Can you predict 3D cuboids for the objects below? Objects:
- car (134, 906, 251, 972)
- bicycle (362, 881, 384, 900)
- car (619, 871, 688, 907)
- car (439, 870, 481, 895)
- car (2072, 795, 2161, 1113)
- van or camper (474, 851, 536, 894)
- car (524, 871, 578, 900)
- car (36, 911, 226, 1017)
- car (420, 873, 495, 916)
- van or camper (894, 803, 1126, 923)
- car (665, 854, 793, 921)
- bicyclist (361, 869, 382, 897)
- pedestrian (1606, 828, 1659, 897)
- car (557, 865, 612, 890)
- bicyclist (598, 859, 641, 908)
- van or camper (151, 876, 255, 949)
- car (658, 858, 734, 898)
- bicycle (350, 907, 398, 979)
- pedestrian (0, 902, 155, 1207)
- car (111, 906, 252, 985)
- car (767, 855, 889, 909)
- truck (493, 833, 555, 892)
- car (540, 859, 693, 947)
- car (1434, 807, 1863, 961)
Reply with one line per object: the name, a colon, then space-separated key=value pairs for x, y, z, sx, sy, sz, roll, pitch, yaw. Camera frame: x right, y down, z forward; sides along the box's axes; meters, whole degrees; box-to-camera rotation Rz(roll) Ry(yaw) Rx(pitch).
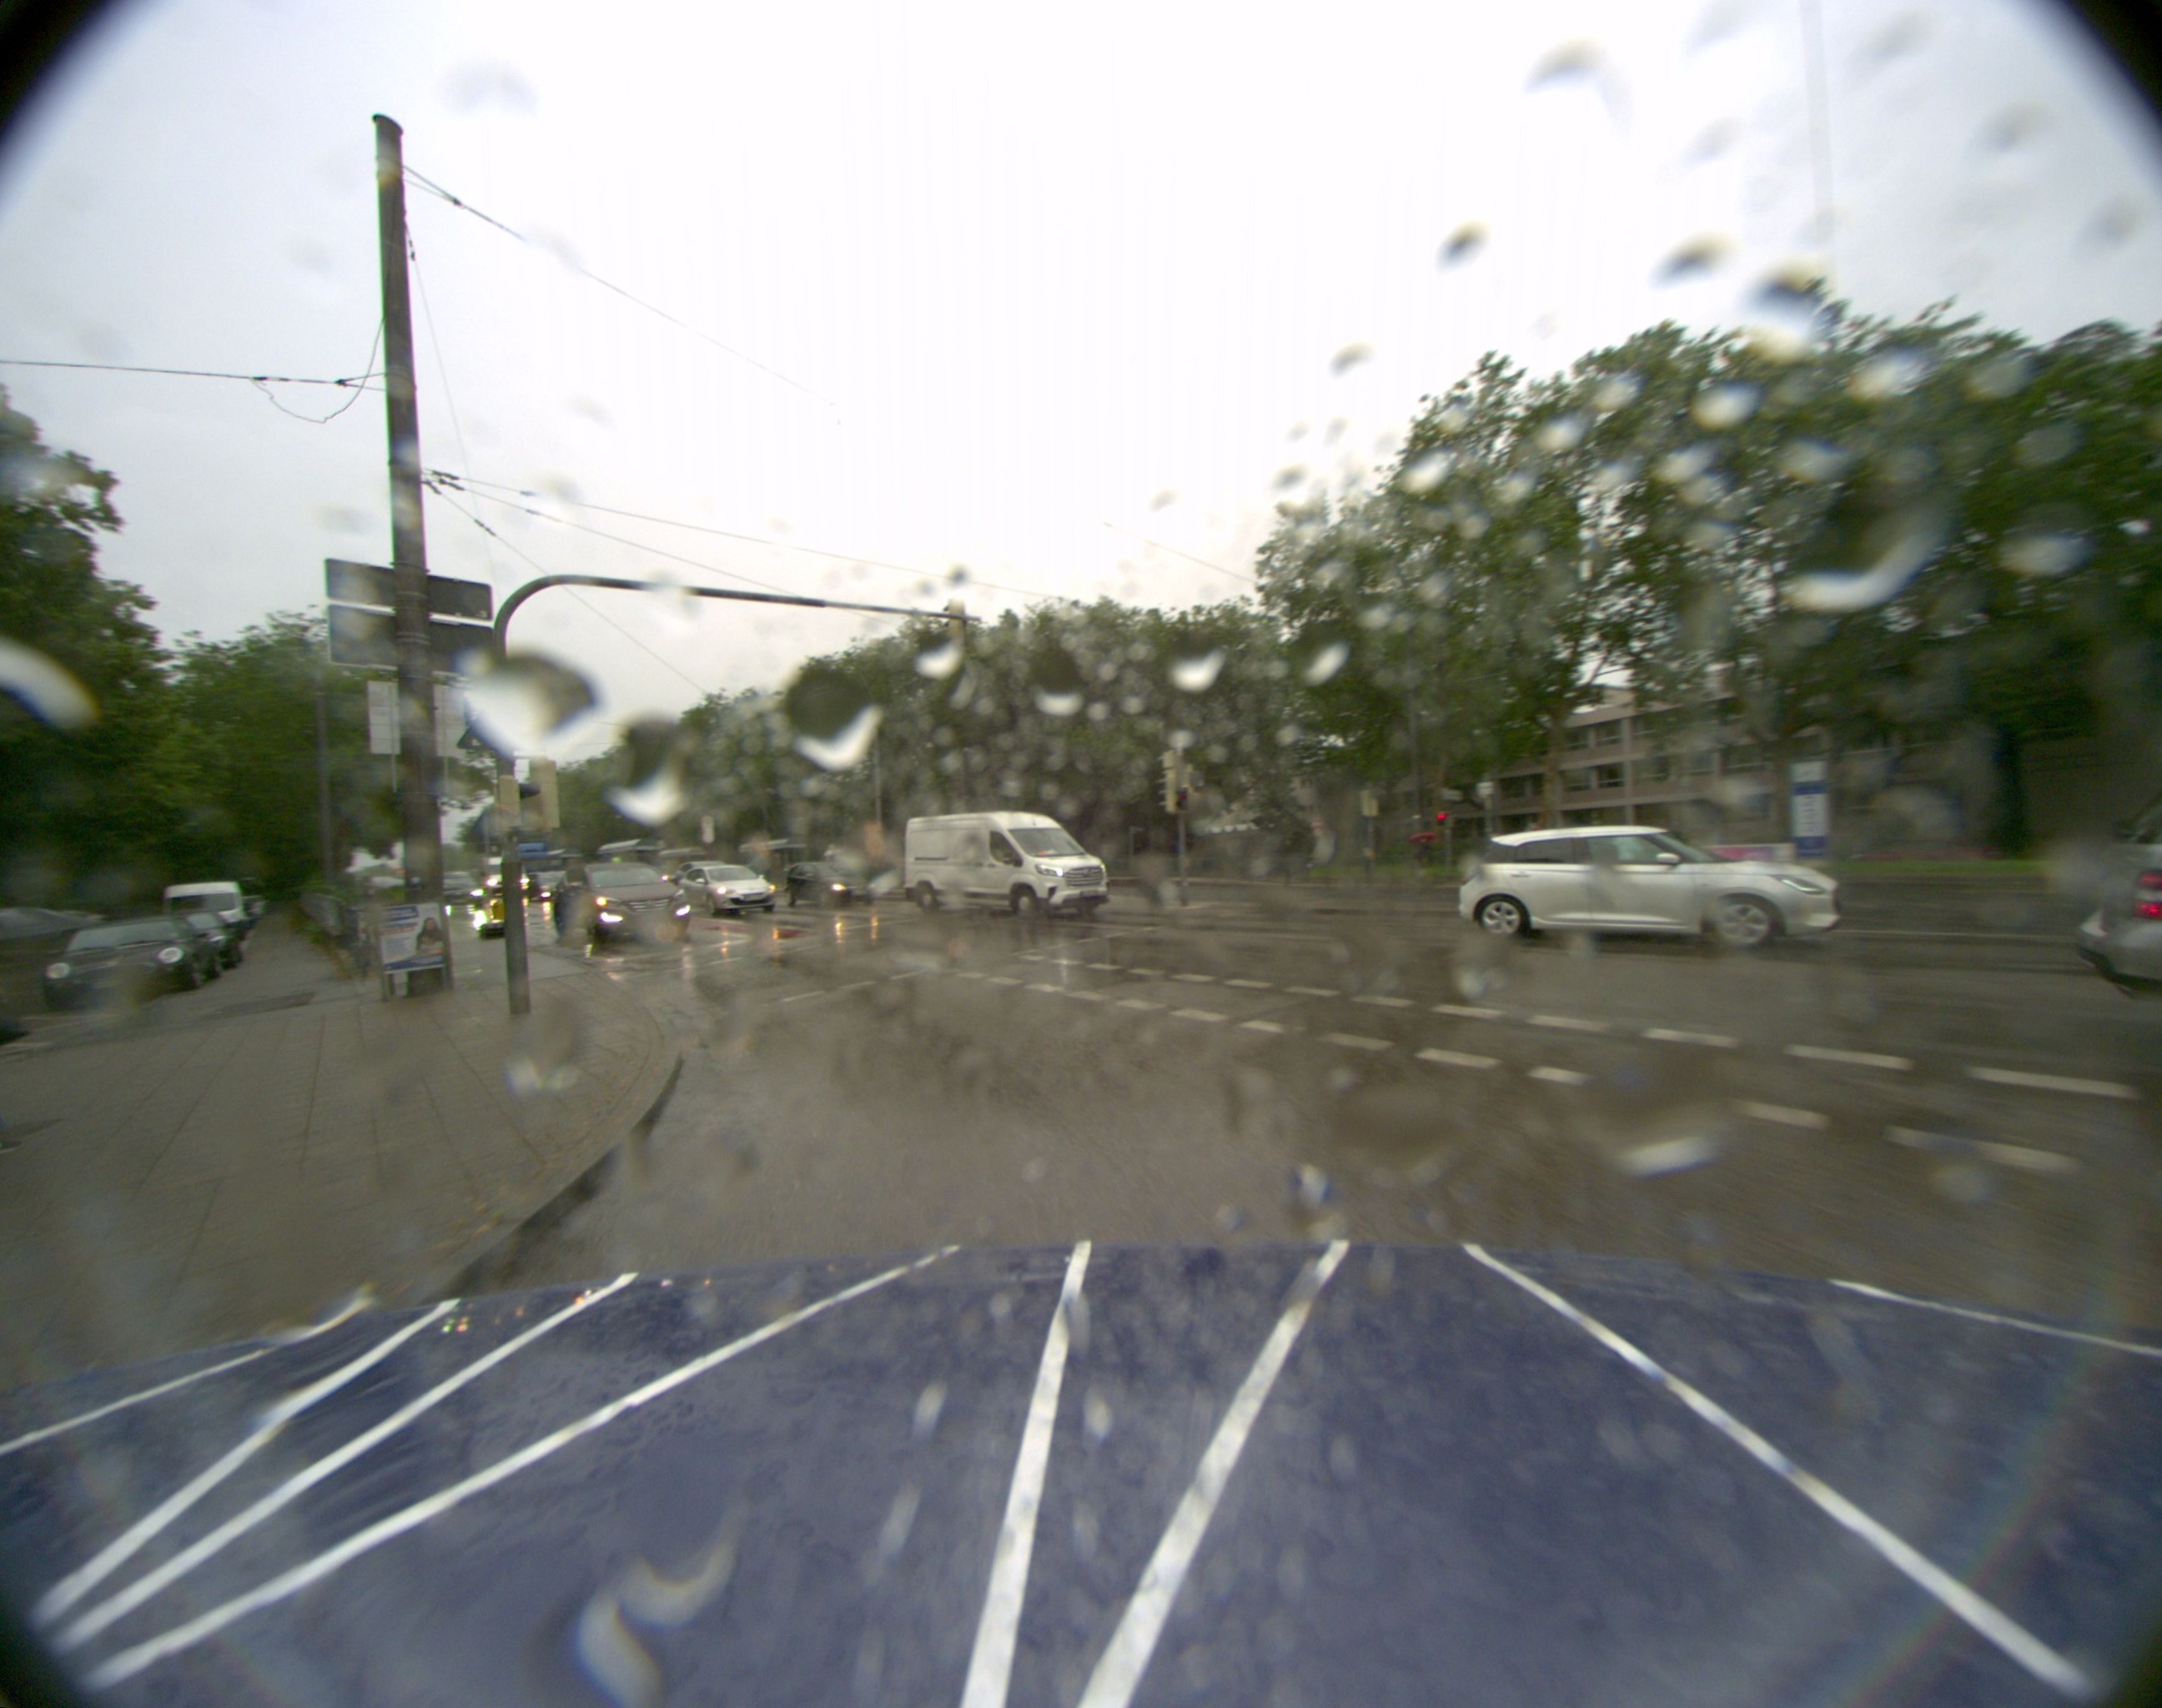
car: x=-25.190 y=2.334 z=21.675 sx=1.736 sy=1.461 sz=4.205 roll=-4 pitch=1 yaw=-45
bicycle: x=-42.805 y=2.225 z=45.907 sx=1.861 sy=1.066 sz=0.742 roll=-3 pitch=0 yaw=41
car: x=-22.408 y=1.822 z=39.796 sx=4.179 sy=1.637 sz=1.918 roll=-3 pitch=1 yaw=44
car: x=-49.902 y=2.240 z=61.000 sx=3.988 sy=1.749 sz=2.003 roll=-1 pitch=3 yaw=44
car: x=7.732 y=0.415 z=2.912 sx=1.917 sy=1.637 sz=4.668 roll=-4 pitch=1 yaw=-40
van or camper: x=-37.304 y=1.231 z=49.156 sx=5.697 sy=2.484 sz=2.149 roll=-3 pitch=1 yaw=43
car: x=-27.778 y=1.644 z=39.758 sx=1.640 sy=1.350 sz=4.236 roll=-4 pitch=1 yaw=-43
car: x=-17.600 y=1.939 z=14.263 sx=1.655 sy=1.491 sz=3.507 roll=-5 pitch=1 yaw=-43
car: x=-28.552 y=1.837 z=34.737 sx=4.680 sy=1.678 sz=1.982 roll=-3 pitch=1 yaw=43
van or camper: x=-1.920 y=0.242 z=18.372 sx=2.186 sy=2.456 sz=5.954 roll=-4 pitch=1 yaw=-44
car: x=-10.718 y=1.004 z=22.975 sx=4.256 sy=1.731 sz=1.980 roll=-3 pitch=1 yaw=43
bicyclist: x=-42.882 y=1.748 z=45.925 sx=0.875 sy=1.646 sz=0.739 roll=-3 pitch=0 yaw=40
pedestrian: x=13.371 y=0.198 z=18.445 sx=0.717 sy=1.601 sz=0.736 roll=-3 pitch=0 yaw=7
car: x=-31.635 y=1.503 z=48.370 sx=4.179 sy=1.400 sz=1.918 roll=-3 pitch=1 yaw=44
bicyclist: x=-14.464 y=0.908 z=23.798 sx=0.929 sy=1.462 sz=0.803 roll=-5 pitch=3 yaw=-41
van or camper: x=-35.966 y=2.332 z=31.290 sx=6.081 sy=2.576 sz=2.338 roll=-3 pitch=1 yaw=44
car: x=-17.381 y=1.088 z=34.221 sx=1.852 sy=1.625 sz=4.236 roll=-4 pitch=1 yaw=-43
bicycle: x=-12.803 y=1.577 z=13.749 sx=1.788 sy=1.162 sz=0.424 roll=-3 pitch=3 yaw=43
pedestrian: x=-6.617 y=1.177 z=4.431 sx=1.105 sy=1.657 sz=0.998 roll=-3 pitch=1 yaw=5
car: x=-21.423 y=2.090 z=18.261 sx=4.205 sy=1.455 sz=1.755 roll=-3 pitch=1 yaw=45
car: x=-8.299 y=0.924 z=24.701 sx=4.544 sy=1.504 sz=1.790 roll=-3 pitch=1 yaw=44
truck: x=-43.966 y=0.760 z=59.824 sx=8.331 sy=4.252 sz=2.423 roll=-3 pitch=1 yaw=45
car: x=-10.761 y=1.066 z=17.428 sx=1.918 sy=1.637 sz=4.668 roll=-4 pitch=1 yaw=-44
car: x=7.002 y=0.357 z=9.784 sx=4.062 sy=1.578 sz=1.811 roll=-3 pitch=0 yaw=40
